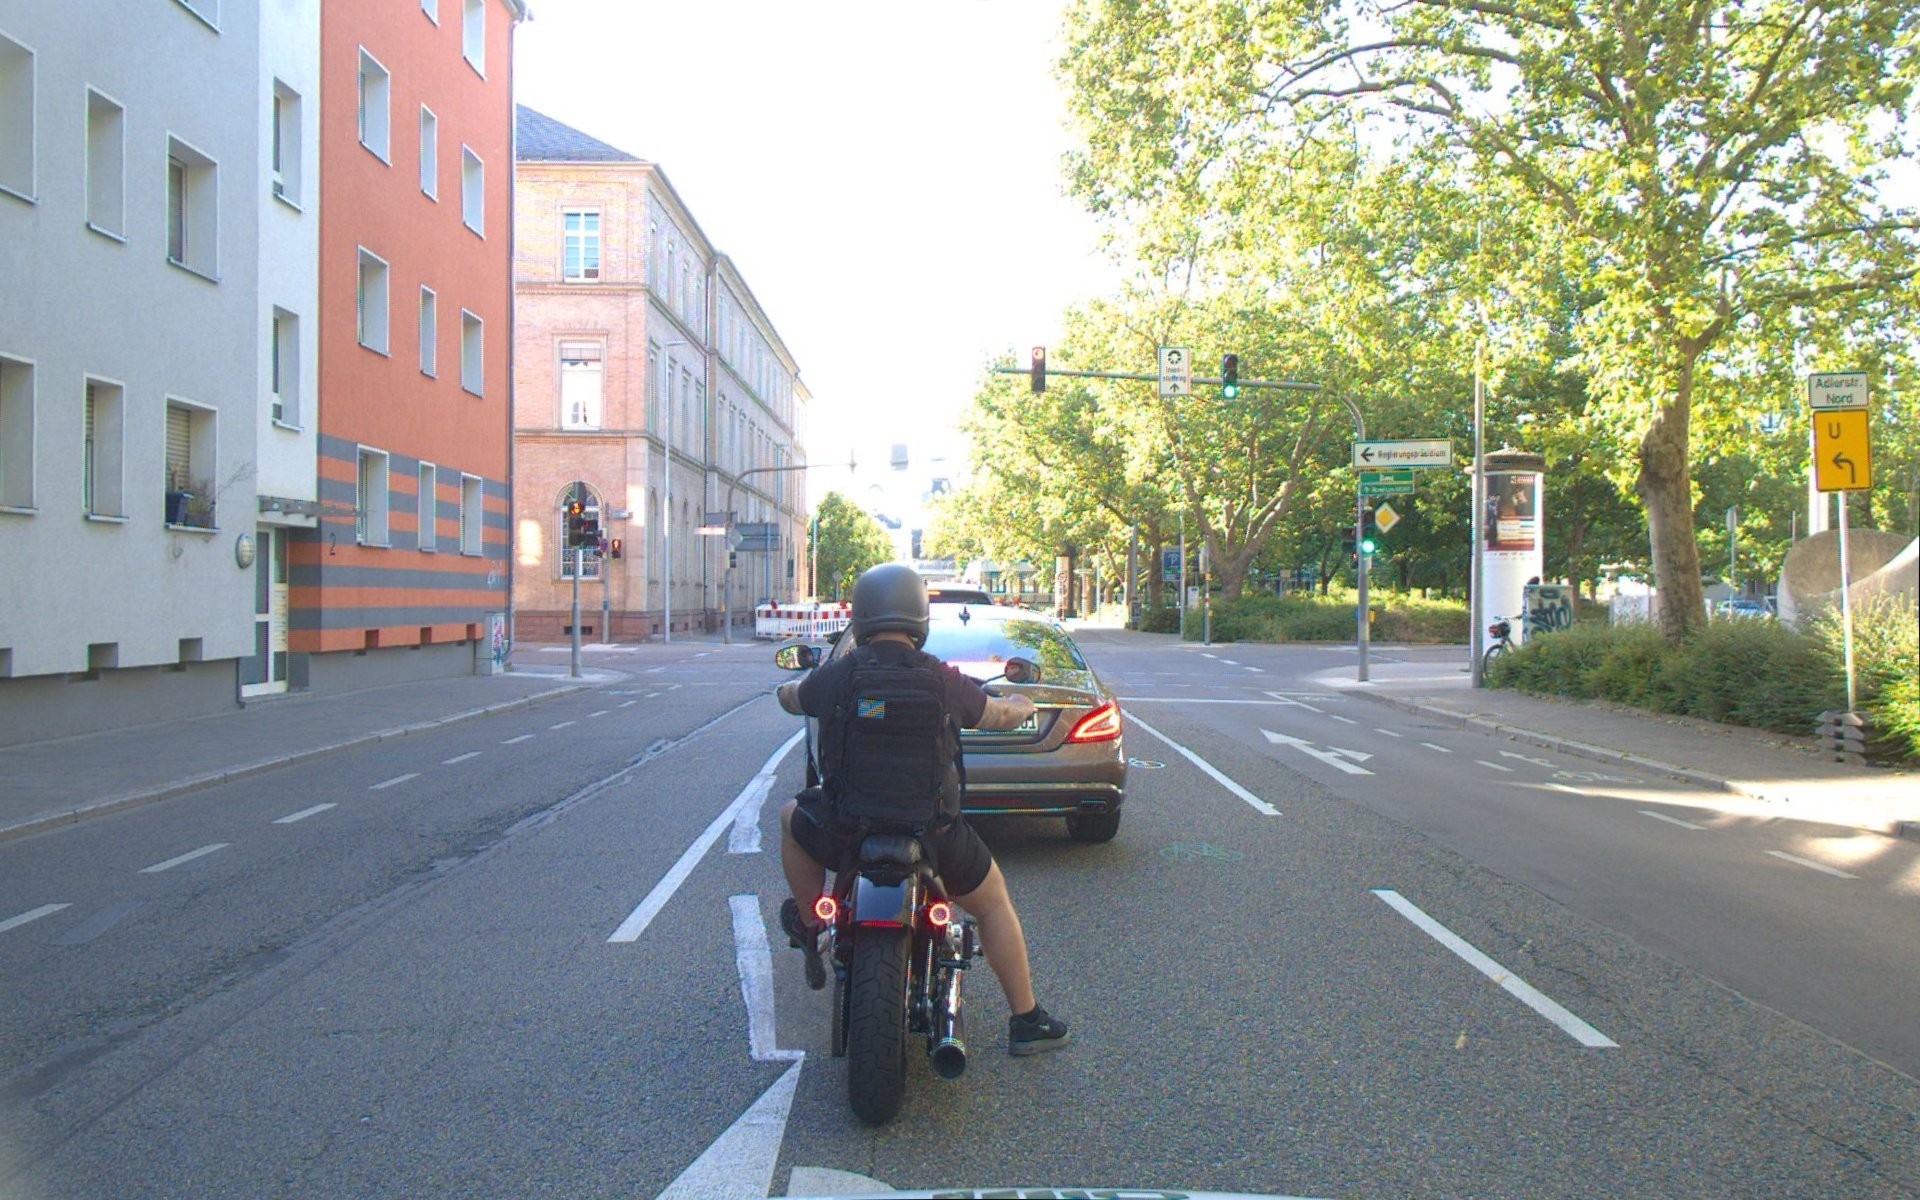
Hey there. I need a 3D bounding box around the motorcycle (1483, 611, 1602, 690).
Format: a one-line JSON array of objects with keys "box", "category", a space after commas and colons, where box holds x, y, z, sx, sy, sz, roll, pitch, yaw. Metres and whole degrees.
[{"box": [9.779, 0.838, 27.822, 1.743, 1.265, 0.723, 1, 0, 4], "category": "motorcycle"}]

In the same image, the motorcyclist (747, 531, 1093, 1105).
[{"box": [-0.121, 0.631, 5.325, 0.970, 1.639, 1.120, 1, 0, -1], "category": "motorcyclist"}]

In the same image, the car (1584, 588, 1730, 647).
[{"box": [21.996, 0.538, 52.292, 3.907, 1.803, 1.737, 0, 0, -3], "category": "car"}]

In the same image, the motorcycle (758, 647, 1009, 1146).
[{"box": [-0.216, 0.816, 5.415, 0.646, 1.261, 2.057, 1, 0, -1], "category": "motorcycle"}]

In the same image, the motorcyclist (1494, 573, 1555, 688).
[{"box": [9.488, 0.506, 27.833, 0.805, 1.896, 0.672, 1, -1, 4], "category": "motorcyclist"}]

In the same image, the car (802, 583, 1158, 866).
[{"box": [-0.083, 0.686, 11.125, 1.790, 1.512, 4.326, 1, 0, -7], "category": "car"}]

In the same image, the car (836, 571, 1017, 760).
[{"box": [-0.328, 0.602, 16.968, 1.618, 1.681, 3.999, 1, 0, -1], "category": "car"}]
